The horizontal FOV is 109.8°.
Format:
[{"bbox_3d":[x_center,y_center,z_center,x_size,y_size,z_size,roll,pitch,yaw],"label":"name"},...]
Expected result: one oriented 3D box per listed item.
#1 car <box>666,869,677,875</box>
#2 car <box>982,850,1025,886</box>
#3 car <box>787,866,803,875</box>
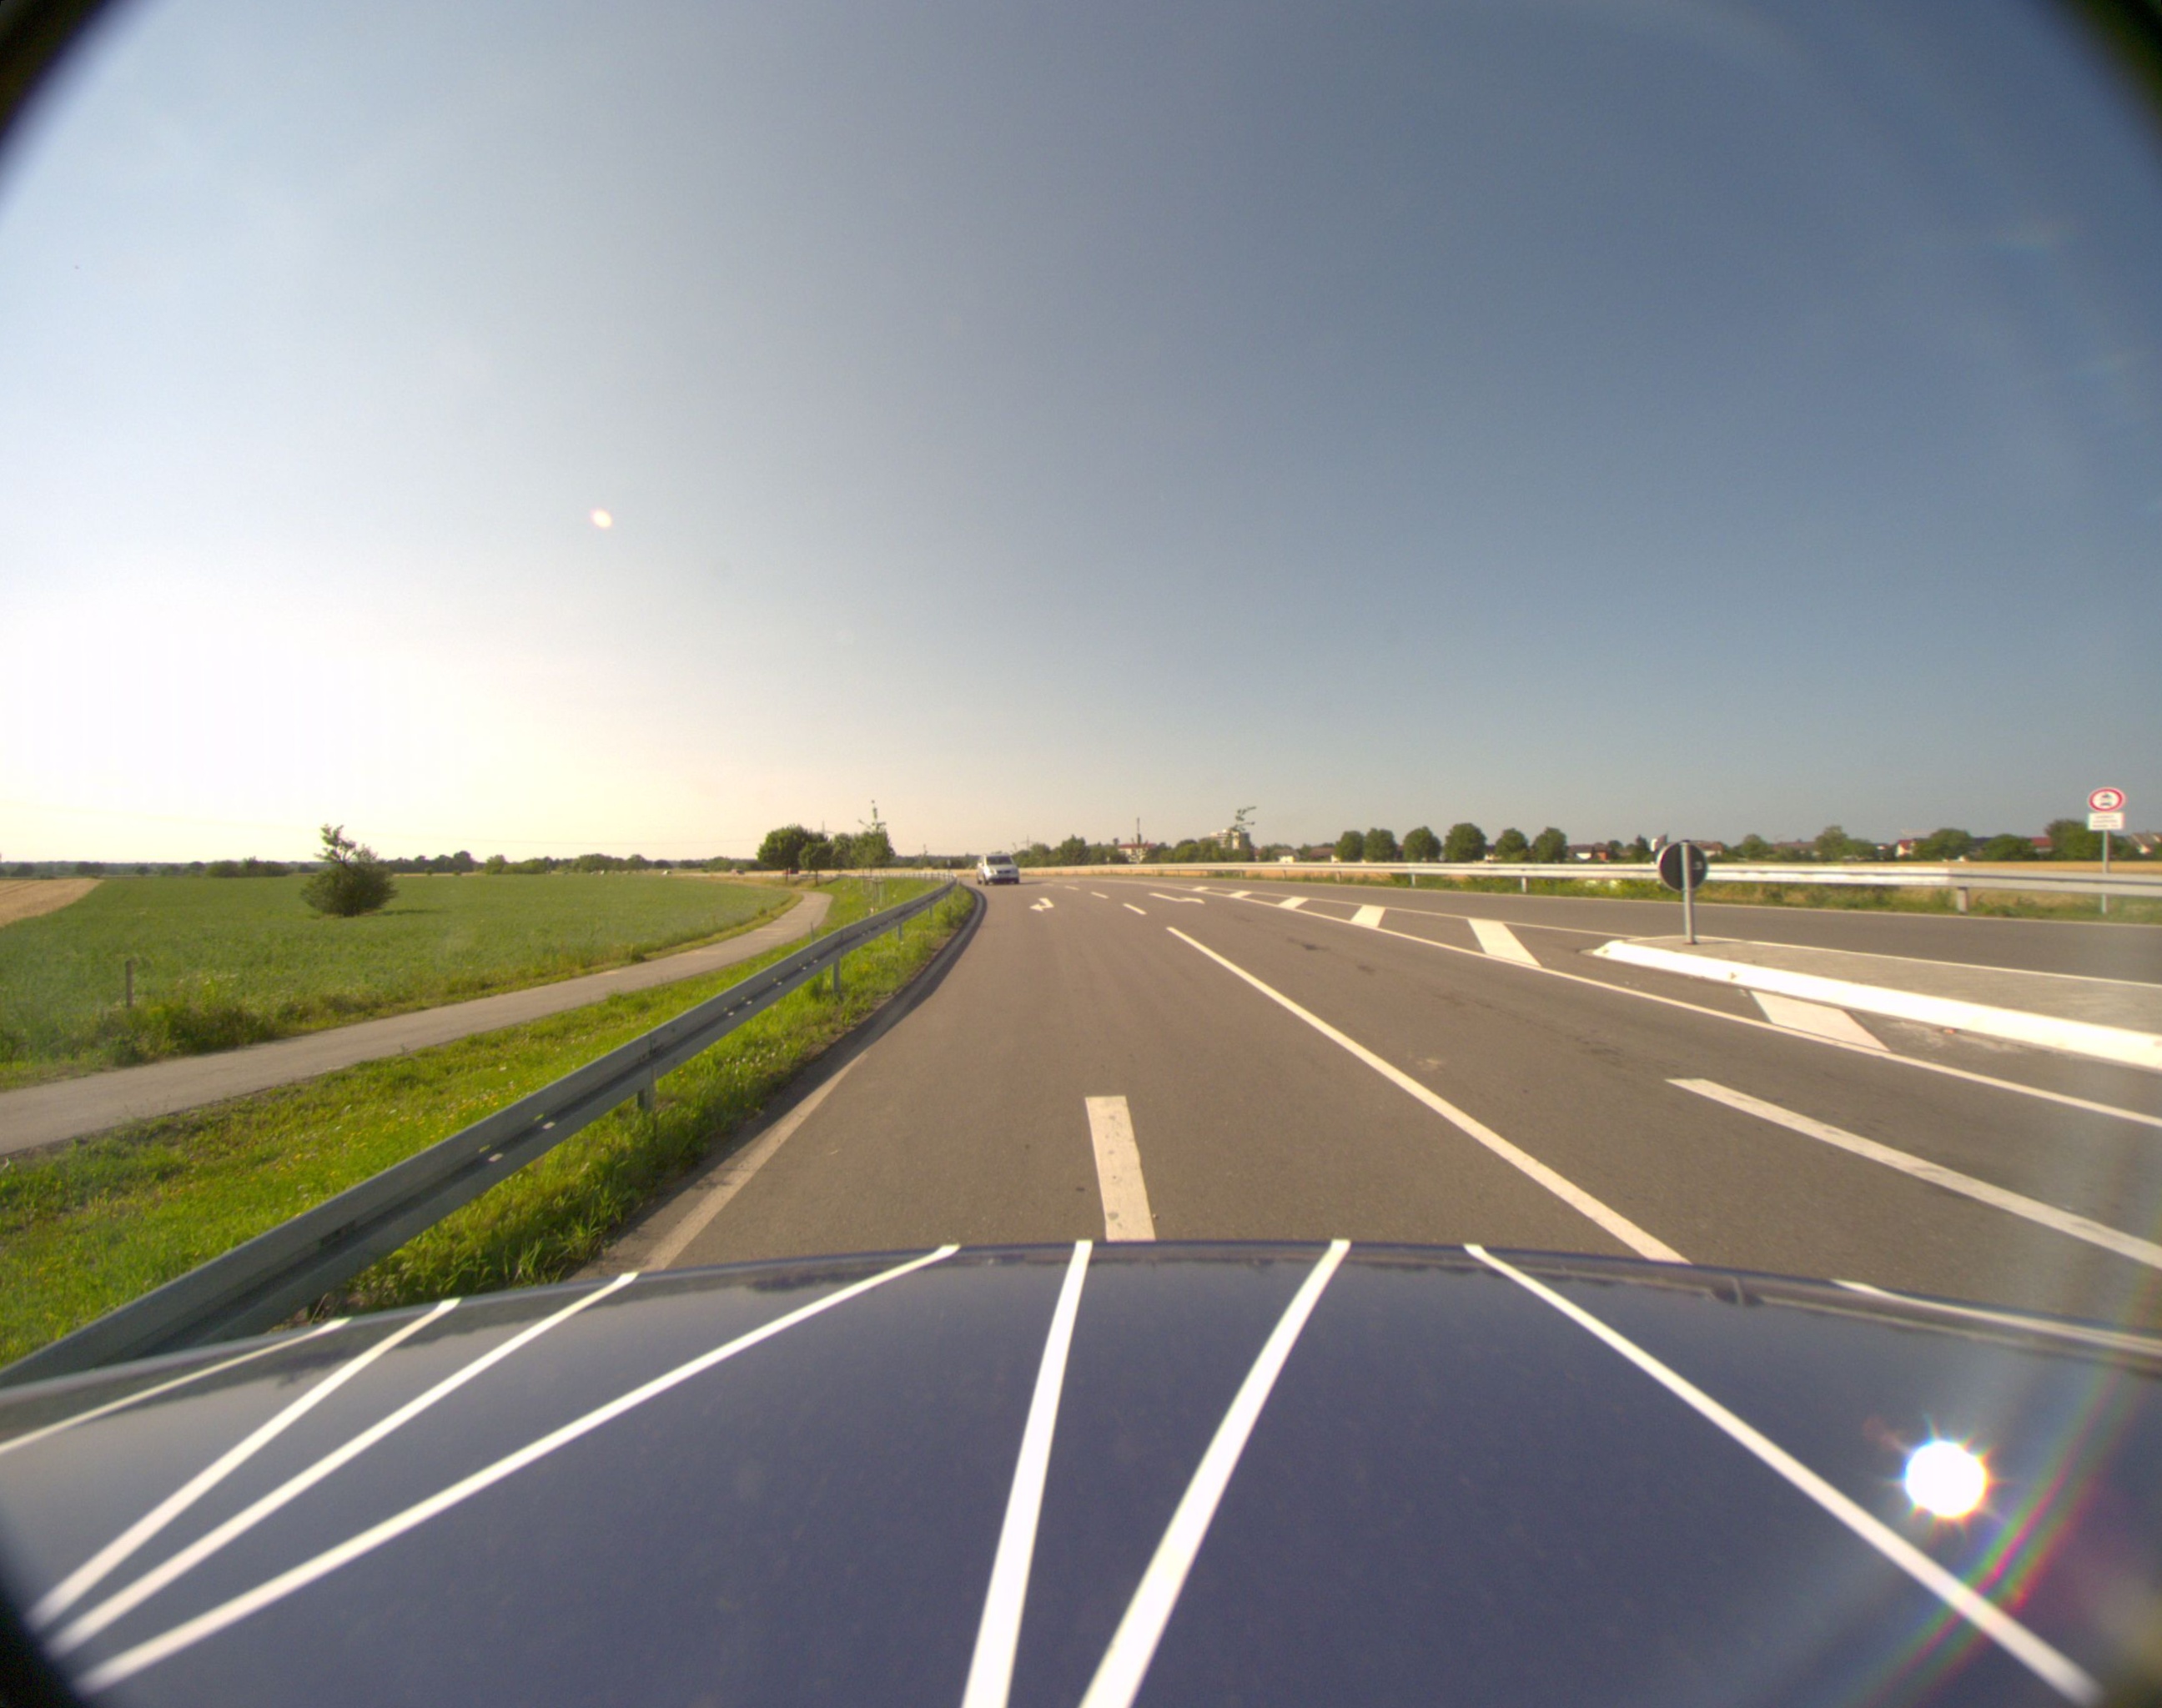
[{"bbox_3d":[-120.304,5.258,223.105,2.004,1.746,3.989,-1,-1,-42],"label":"car"},{"bbox_3d":[-4.122,0.683,39.893,1.757,1.685,4.210,-3,1,-11],"label":"car"},{"bbox_3d":[-55.807,3.155,148.427,1.818,1.663,3.990,-3,1,-36],"label":"car"}]
